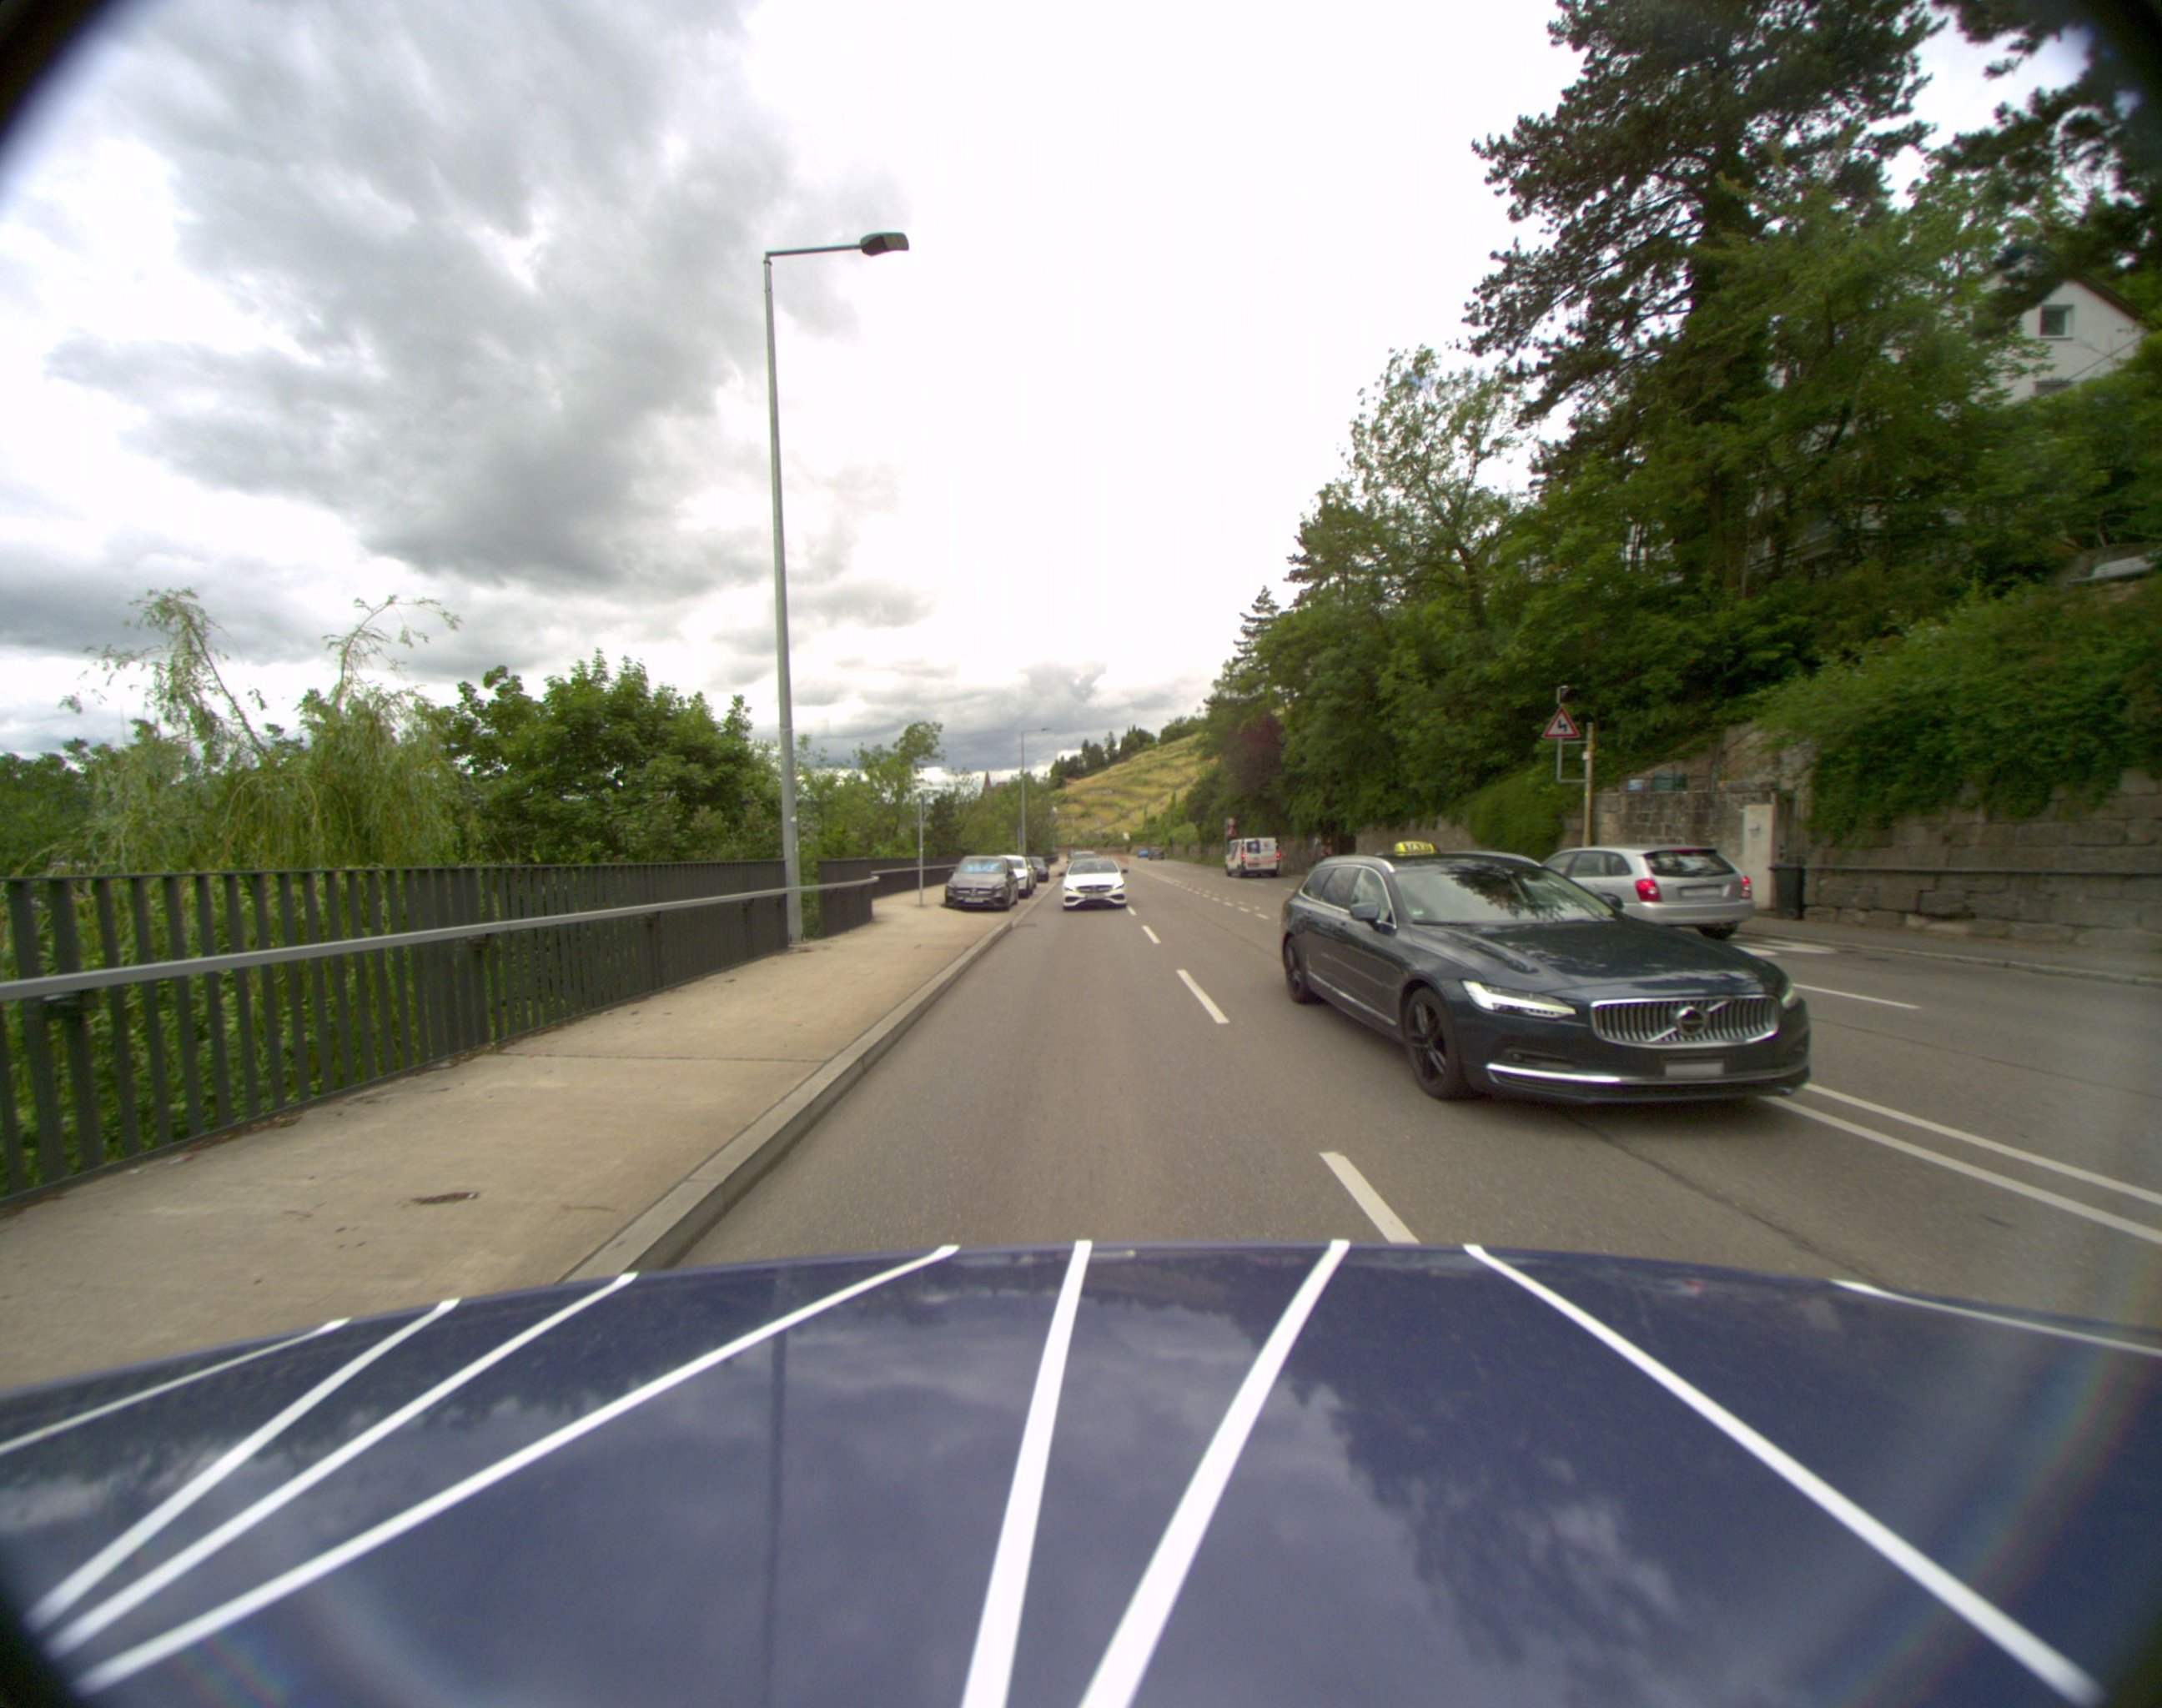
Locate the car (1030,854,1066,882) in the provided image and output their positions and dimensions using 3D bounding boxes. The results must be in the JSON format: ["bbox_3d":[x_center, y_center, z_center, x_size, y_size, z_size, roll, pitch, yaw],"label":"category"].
[{"bbox_3d":[-1.811,0.757,43.058,1.827,1.393,4.318,1,1,0],"label":"car"}]

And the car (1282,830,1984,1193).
[{"bbox_3d":[3.183,0.700,5.984,1.939,1.567,5.027,-3,1,2],"label":"car"}]

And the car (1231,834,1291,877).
[{"bbox_3d":[9.233,0.046,39.440,1.926,1.993,5.355,-2,1,2],"label":"car"}]

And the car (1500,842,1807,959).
[{"bbox_3d":[8.682,0.596,12.092,1.680,1.434,4.233,-3,0,1],"label":"car"}]

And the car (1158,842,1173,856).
[{"bbox_3d":[11.189,-0.686,100.873,1.819,1.687,4.471,-2,1,6],"label":"car"}]

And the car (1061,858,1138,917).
[{"bbox_3d":[0.592,0.869,21.598,1.903,1.418,4.267,-3,-1,3],"label":"car"}]

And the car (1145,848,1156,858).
[{"bbox_3d":[10.847,-0.207,118.503,1.587,1.453,3.523,-2,0,2],"label":"car"}]

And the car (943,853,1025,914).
[{"bbox_3d":[-2.753,0.792,22.592,1.761,1.535,4.427,1,1,1],"label":"car"}]

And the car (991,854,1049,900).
[{"bbox_3d":[-2.248,0.804,28.898,1.731,1.559,4.623,0,1,1],"label":"car"}]

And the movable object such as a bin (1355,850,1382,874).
[{"bbox_3d":[12.830,0.369,33.916,0.901,1.028,0.621,-2,1,-2],"label":"movable object such as a bin"}]

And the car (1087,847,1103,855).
[{"bbox_3d":[2.574,-0.651,144.904,1.863,1.437,4.289,-3,1,-15],"label":"car"}]

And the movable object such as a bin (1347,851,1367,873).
[{"bbox_3d":[12.762,0.360,35.150,0.675,0.960,0.543,-2,1,-2],"label":"movable object such as a bin"}]

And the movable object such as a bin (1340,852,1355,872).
[{"bbox_3d":[12.603,0.371,35.906,0.518,0.960,0.474,-2,1,-2],"label":"movable object such as a bin"}]

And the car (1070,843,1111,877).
[{"bbox_3d":[0.554,0.279,40.293,1.998,1.580,4.000,-3,1,2],"label":"car"}]

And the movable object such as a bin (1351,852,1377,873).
[{"bbox_3d":[12.871,0.380,34.542,0.918,0.940,0.594,-2,1,-2],"label":"movable object such as a bin"}]
